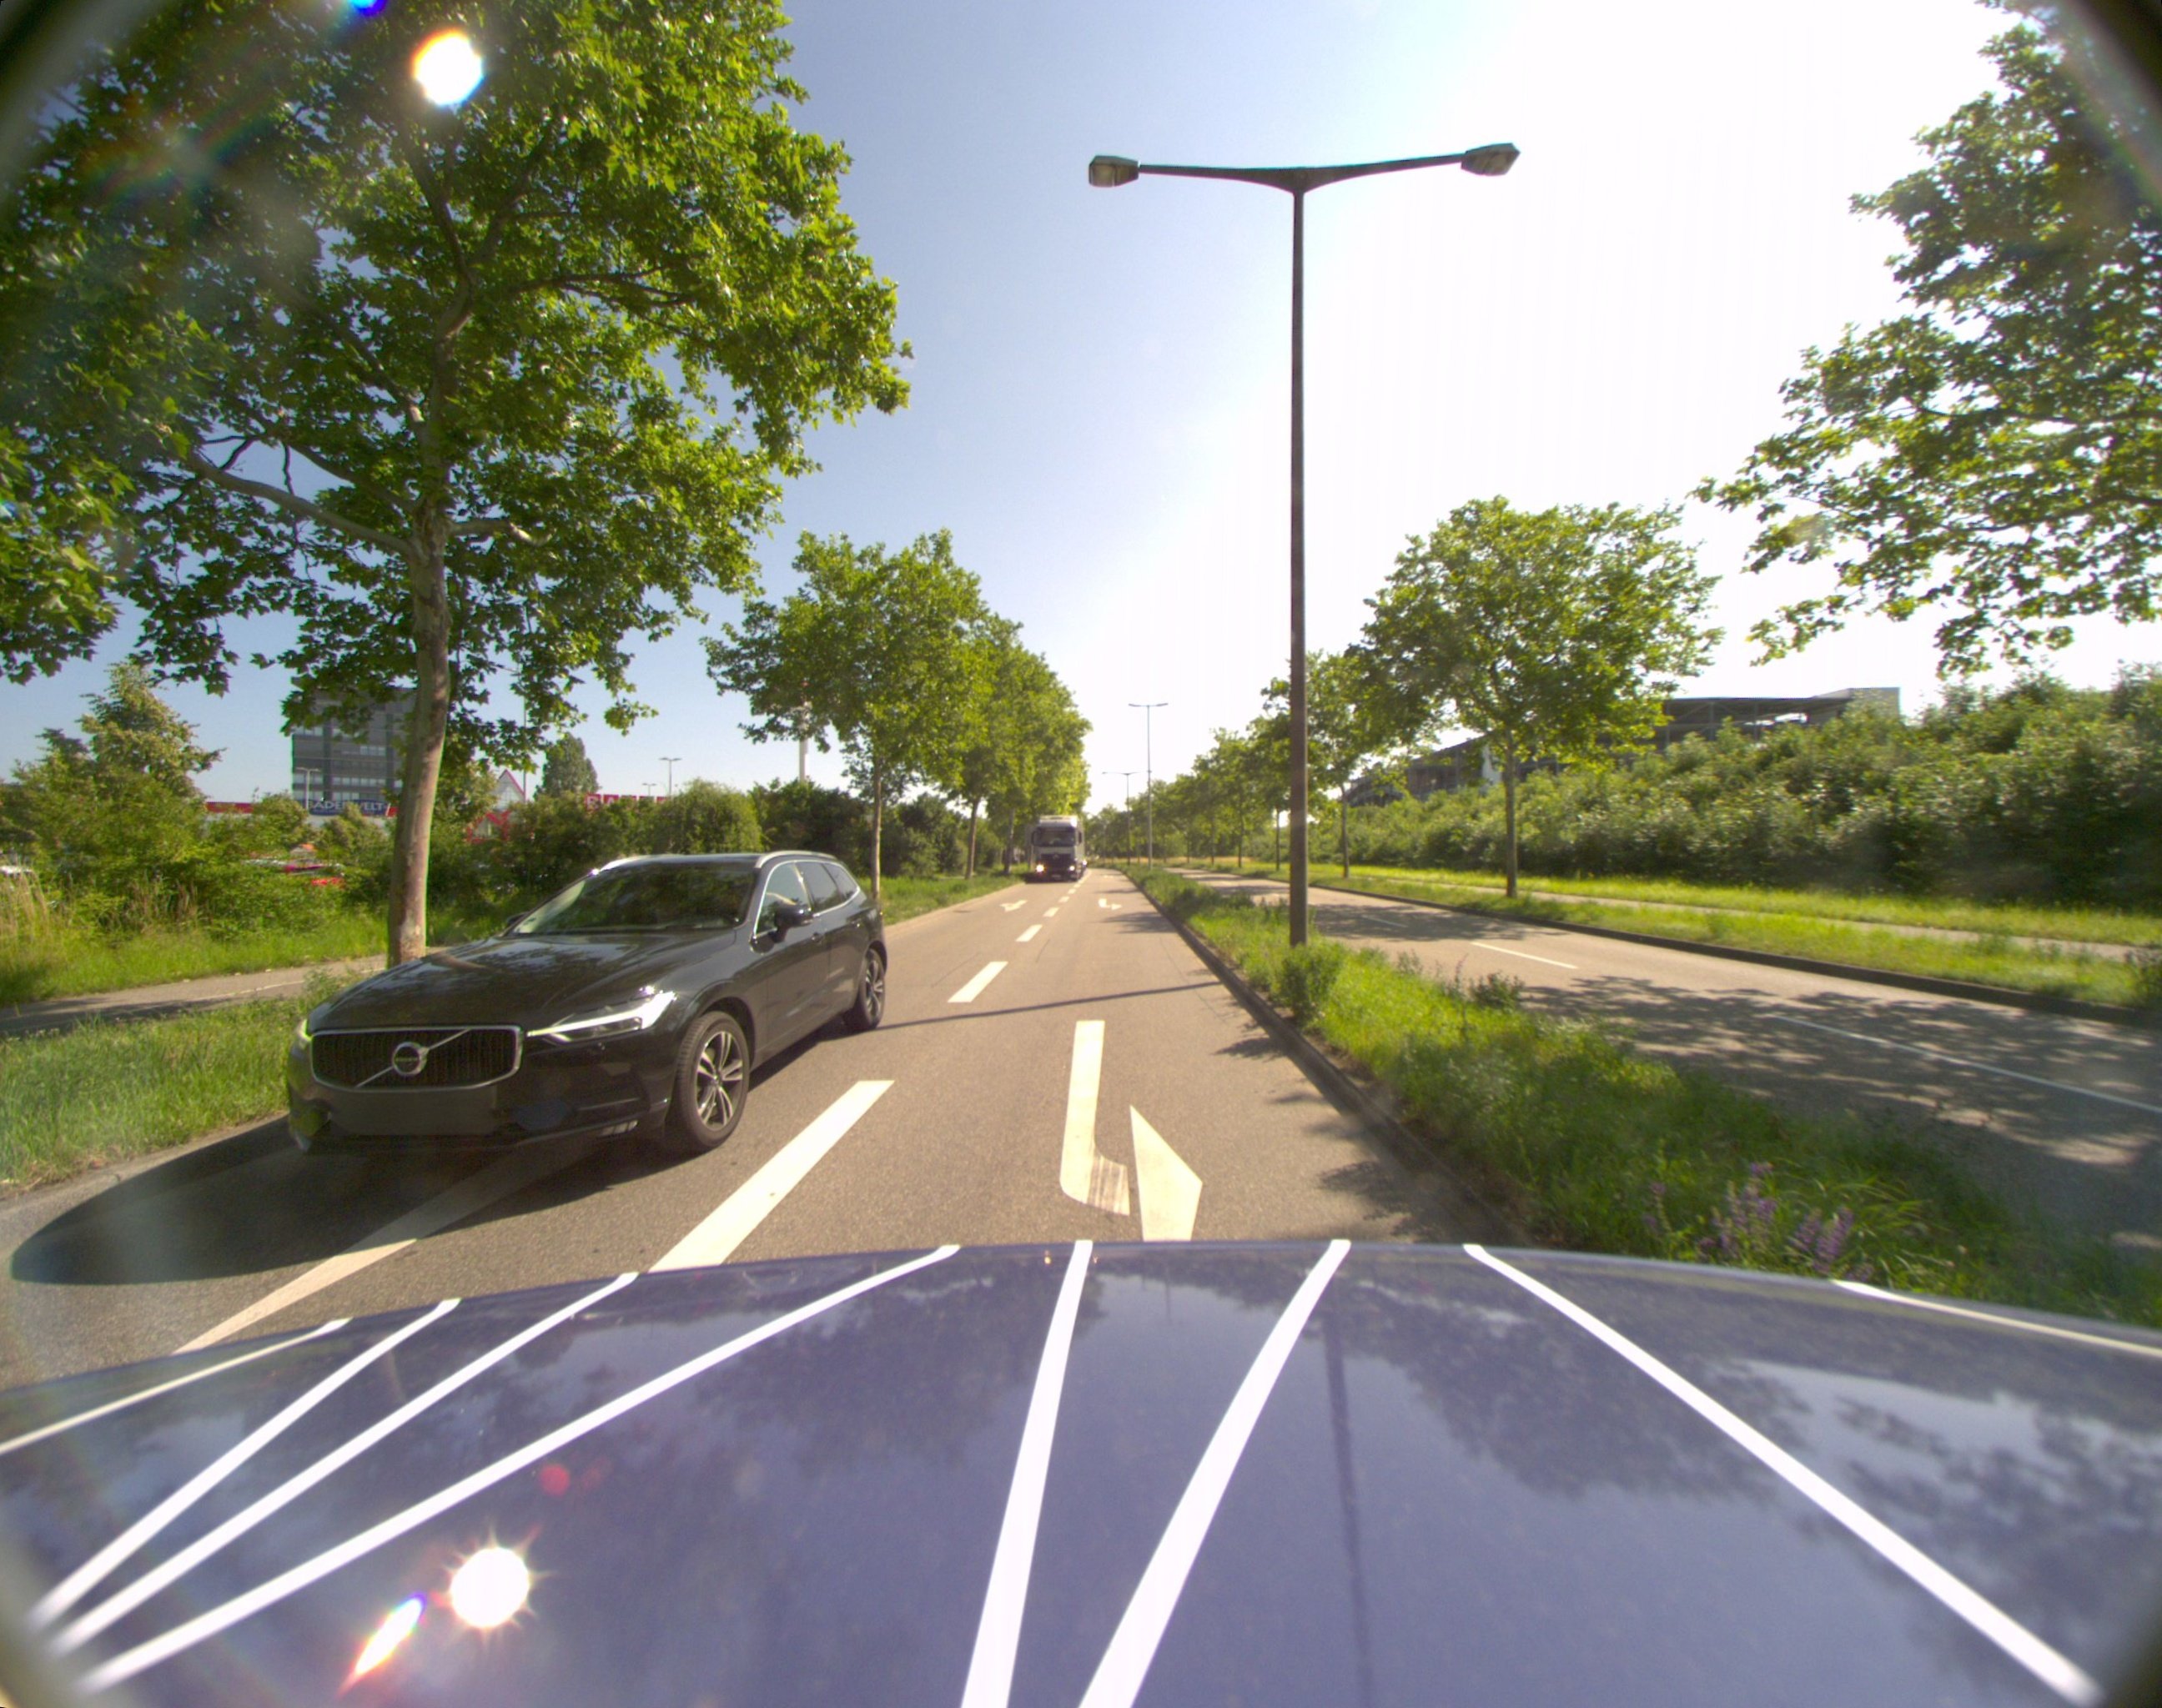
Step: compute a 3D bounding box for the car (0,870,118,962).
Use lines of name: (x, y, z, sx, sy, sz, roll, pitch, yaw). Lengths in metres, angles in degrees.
car: (-22.002, 1.221, 14.977, 3.558, 1.686, 1.718, -1, 1, -4)

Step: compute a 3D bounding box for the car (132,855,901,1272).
car: (-2.827, 0.858, 5.364, 1.924, 1.613, 4.564, -1, 1, 1)

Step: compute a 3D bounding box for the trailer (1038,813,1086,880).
trailer: (-1.146, -0.512, 52.476, 2.805, 4.023, 10.796, -1, 1, 1)

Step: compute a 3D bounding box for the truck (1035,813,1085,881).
truck: (-1.182, -0.416, 46.574, 2.741, 3.872, 5.851, -1, 1, 1)
